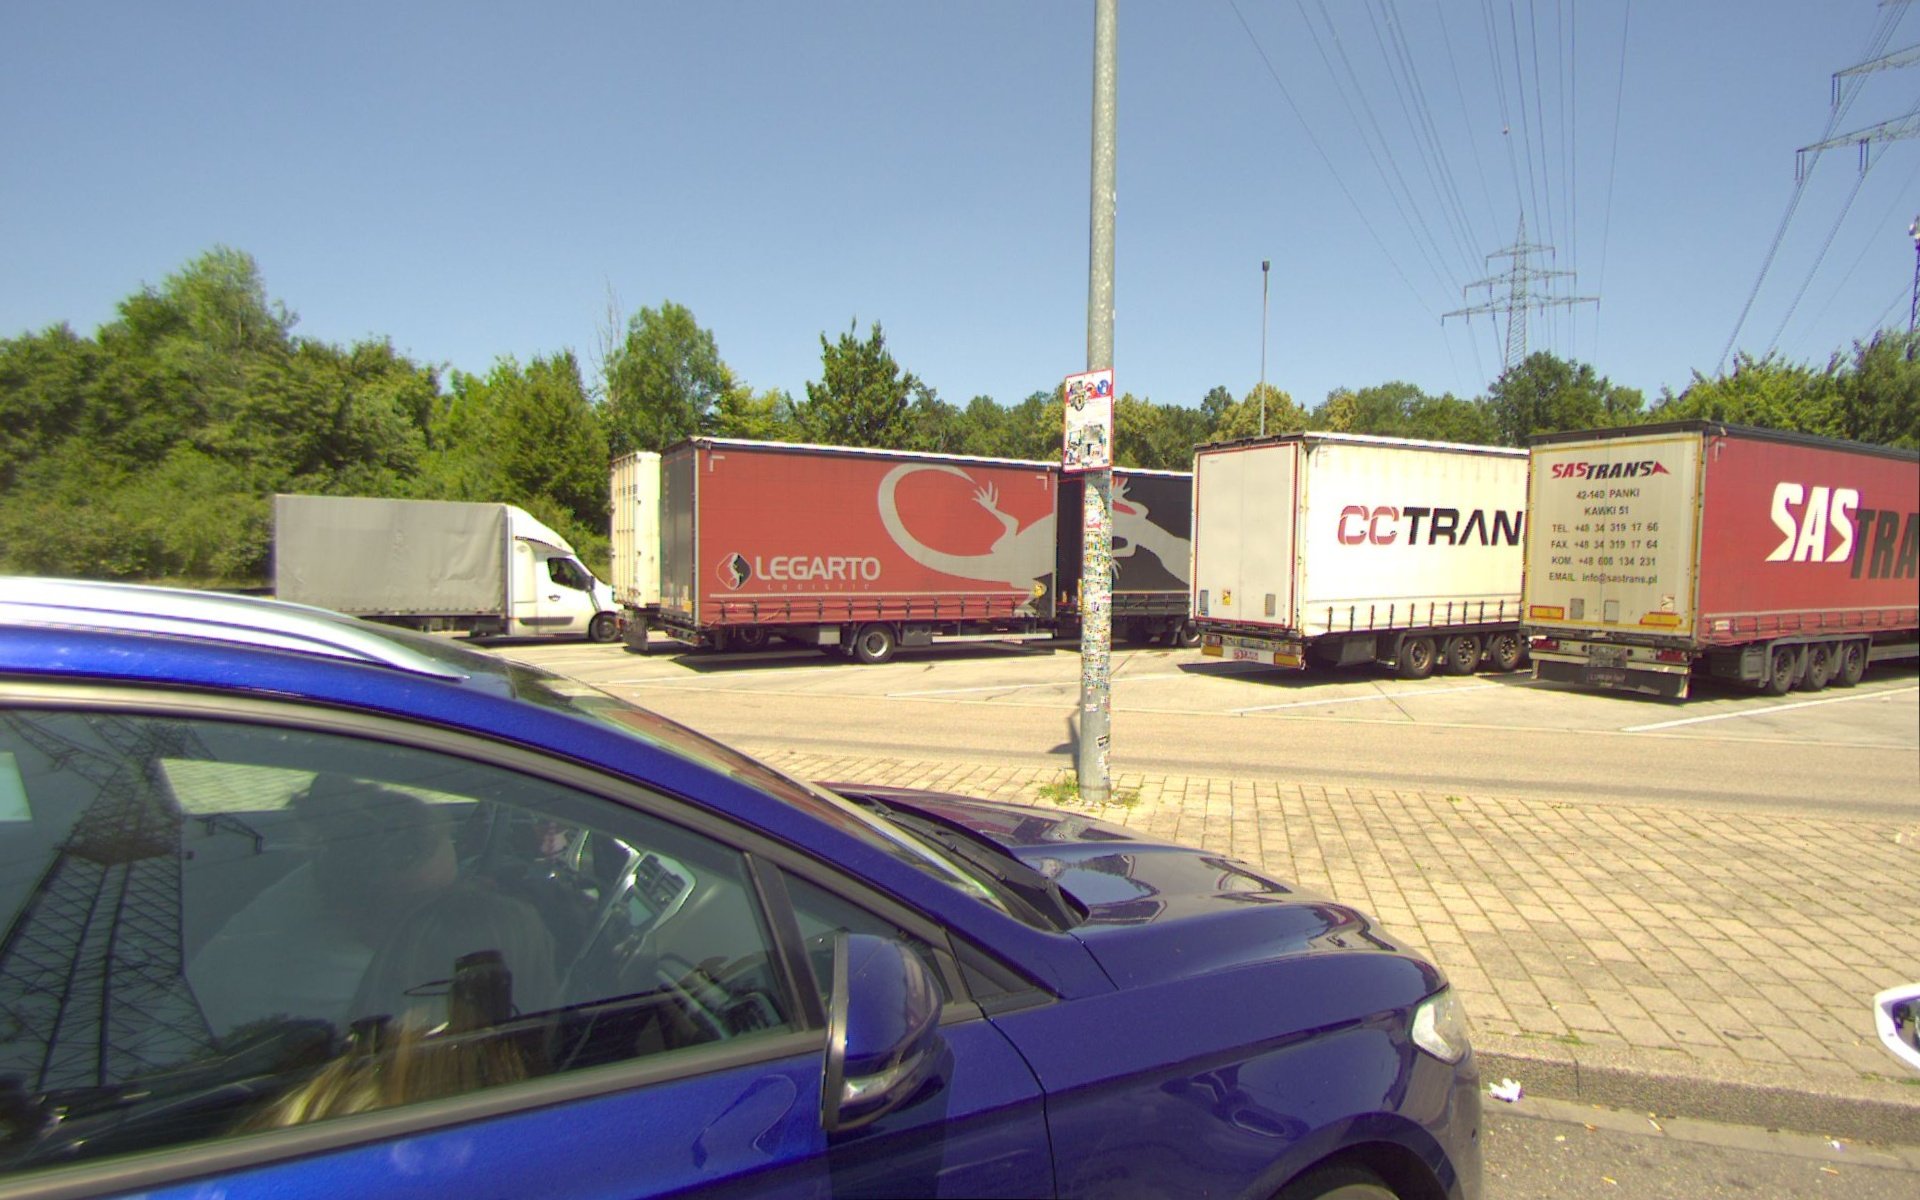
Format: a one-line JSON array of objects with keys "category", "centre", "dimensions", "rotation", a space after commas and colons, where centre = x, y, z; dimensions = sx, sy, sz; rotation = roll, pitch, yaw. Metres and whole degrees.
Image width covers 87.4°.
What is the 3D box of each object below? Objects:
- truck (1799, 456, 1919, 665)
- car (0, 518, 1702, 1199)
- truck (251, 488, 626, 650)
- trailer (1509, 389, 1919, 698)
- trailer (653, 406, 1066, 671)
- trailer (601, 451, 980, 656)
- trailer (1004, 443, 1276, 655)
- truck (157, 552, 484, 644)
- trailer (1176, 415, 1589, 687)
[{"category": "truck", "centre": [21.439, -0.784, 22.070], "dimensions": [5.824, 4.189, 2.792], "rotation": [0, 0, -30]}, {"category": "car", "centre": [-0.989, 0.661, 1.440], "dimensions": [4.362, 1.437, 1.731], "rotation": [1, 0, -30]}, {"category": "truck", "centre": [-11.439, -0.595, 22.600], "dimensions": [7.171, 3.194, 2.160], "rotation": [0, 1, -30]}, {"category": "trailer", "centre": [15.256, -0.758, 18.434], "dimensions": [13.046, 4.276, 2.786], "rotation": [0, 0, -31]}, {"category": "trailer", "centre": [-1.851, -1.034, 20.312], "dimensions": [7.963, 4.510, 2.648], "rotation": [0, 0, -31]}, {"category": "trailer", "centre": [-3.737, -0.905, 23.124], "dimensions": [8.189, 4.053, 2.720], "rotation": [0, 0, -30]}, {"category": "trailer", "centre": [4.341, -1.044, 23.966], "dimensions": [6.076, 4.504, 2.665], "rotation": [1, 0, -30]}, {"category": "truck", "centre": [-15.349, -0.034, 24.627], "dimensions": [6.538, 2.040, 1.984], "rotation": [0, 0, -31]}, {"category": "trailer", "centre": [8.095, -0.762, 18.829], "dimensions": [8.189, 4.208, 2.741], "rotation": [0, 1, -30]}]
